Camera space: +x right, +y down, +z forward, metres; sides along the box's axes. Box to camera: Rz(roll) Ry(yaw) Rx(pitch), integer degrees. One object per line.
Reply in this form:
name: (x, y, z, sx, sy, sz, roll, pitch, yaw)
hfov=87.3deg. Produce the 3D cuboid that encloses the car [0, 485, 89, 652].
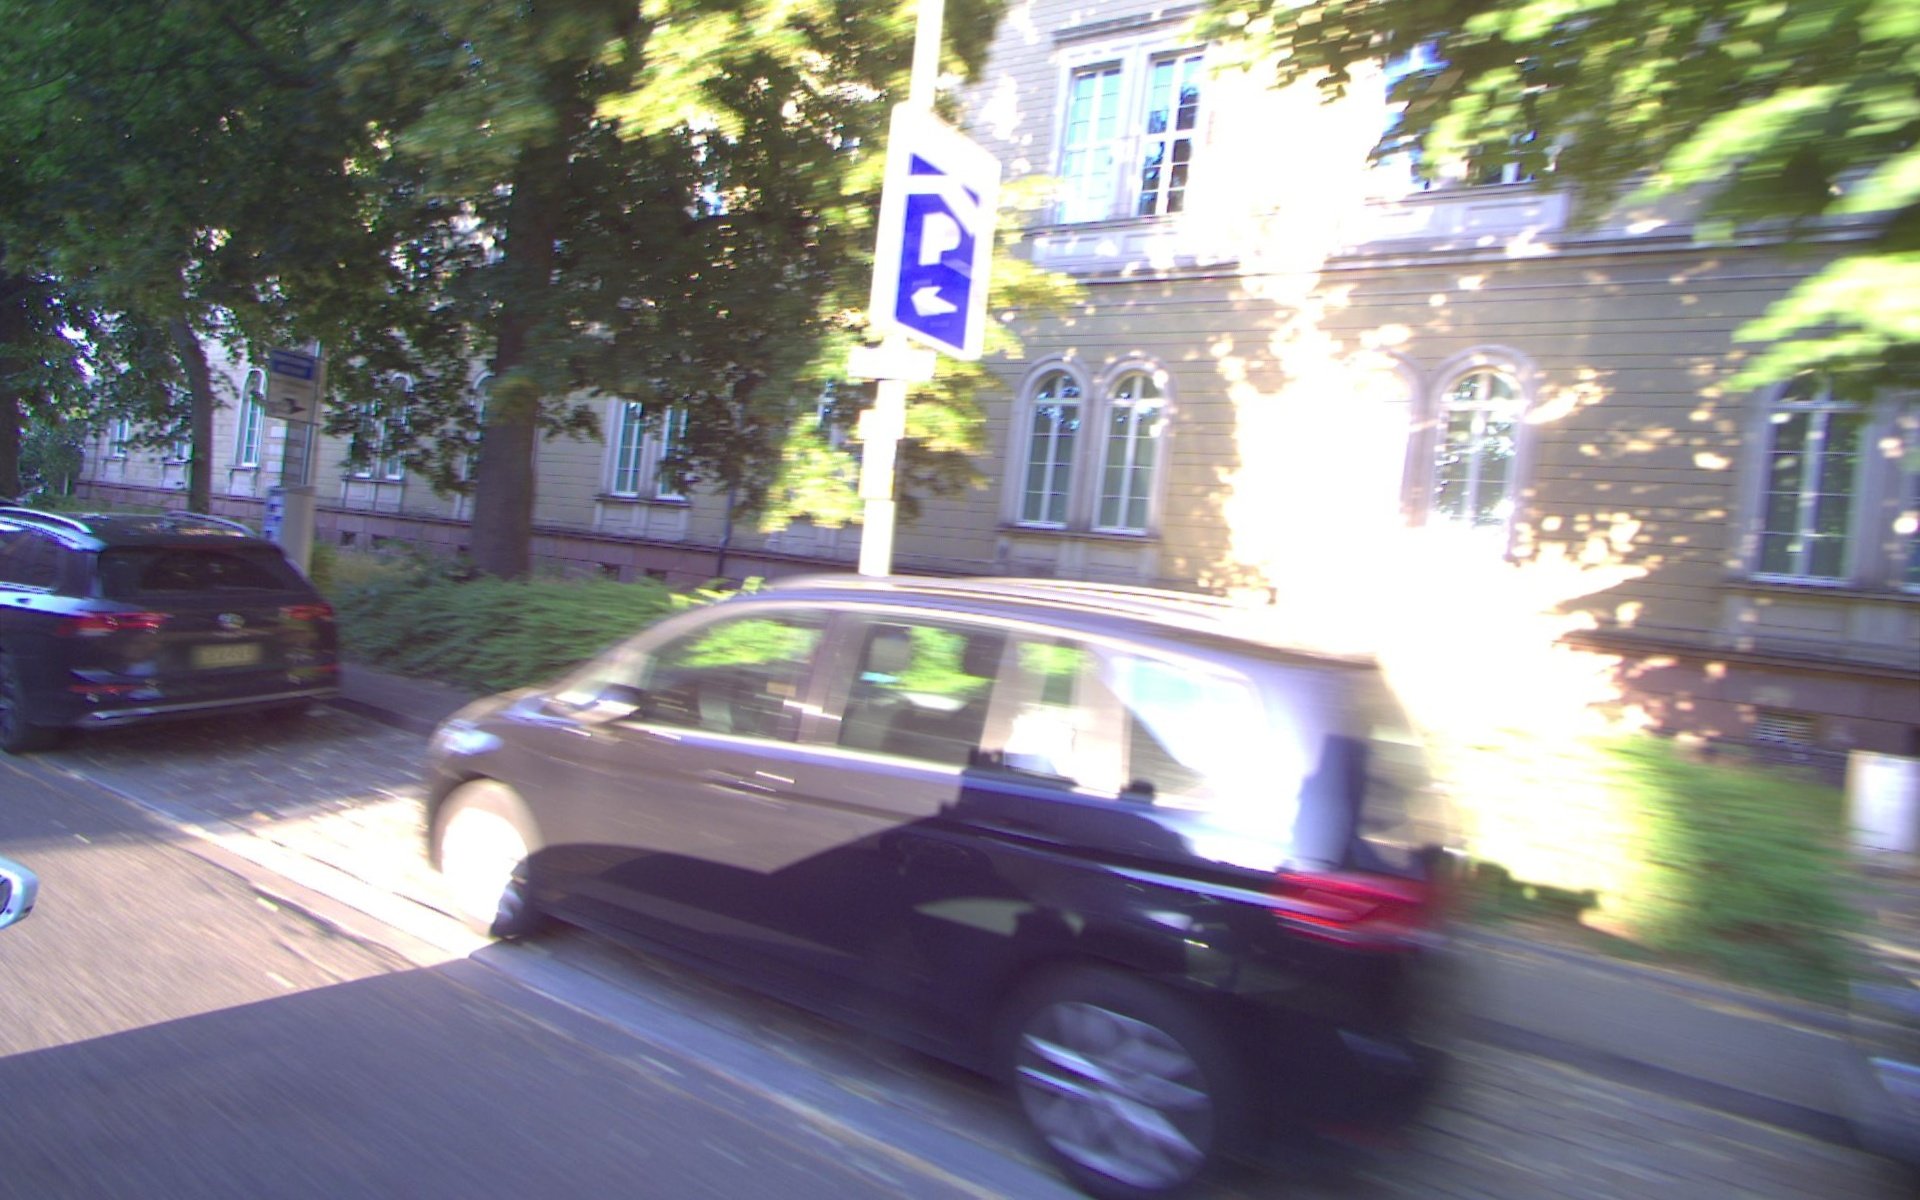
car: (-10.892, -0.486, 10.245, 4.119, 1.552, 1.726, 6, 0, 30)

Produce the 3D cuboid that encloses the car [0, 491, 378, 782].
car: (-6.467, 0.032, 7.416, 4.545, 1.555, 1.723, 6, 4, 30)

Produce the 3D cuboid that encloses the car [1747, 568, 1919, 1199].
car: (4.206, 1.074, 1.176, 4.867, 1.836, 1.806, 6, 0, 33)

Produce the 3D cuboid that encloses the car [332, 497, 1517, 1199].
car: (-0.359, 0.643, 4.065, 4.423, 1.703, 1.726, 6, 0, 30)
